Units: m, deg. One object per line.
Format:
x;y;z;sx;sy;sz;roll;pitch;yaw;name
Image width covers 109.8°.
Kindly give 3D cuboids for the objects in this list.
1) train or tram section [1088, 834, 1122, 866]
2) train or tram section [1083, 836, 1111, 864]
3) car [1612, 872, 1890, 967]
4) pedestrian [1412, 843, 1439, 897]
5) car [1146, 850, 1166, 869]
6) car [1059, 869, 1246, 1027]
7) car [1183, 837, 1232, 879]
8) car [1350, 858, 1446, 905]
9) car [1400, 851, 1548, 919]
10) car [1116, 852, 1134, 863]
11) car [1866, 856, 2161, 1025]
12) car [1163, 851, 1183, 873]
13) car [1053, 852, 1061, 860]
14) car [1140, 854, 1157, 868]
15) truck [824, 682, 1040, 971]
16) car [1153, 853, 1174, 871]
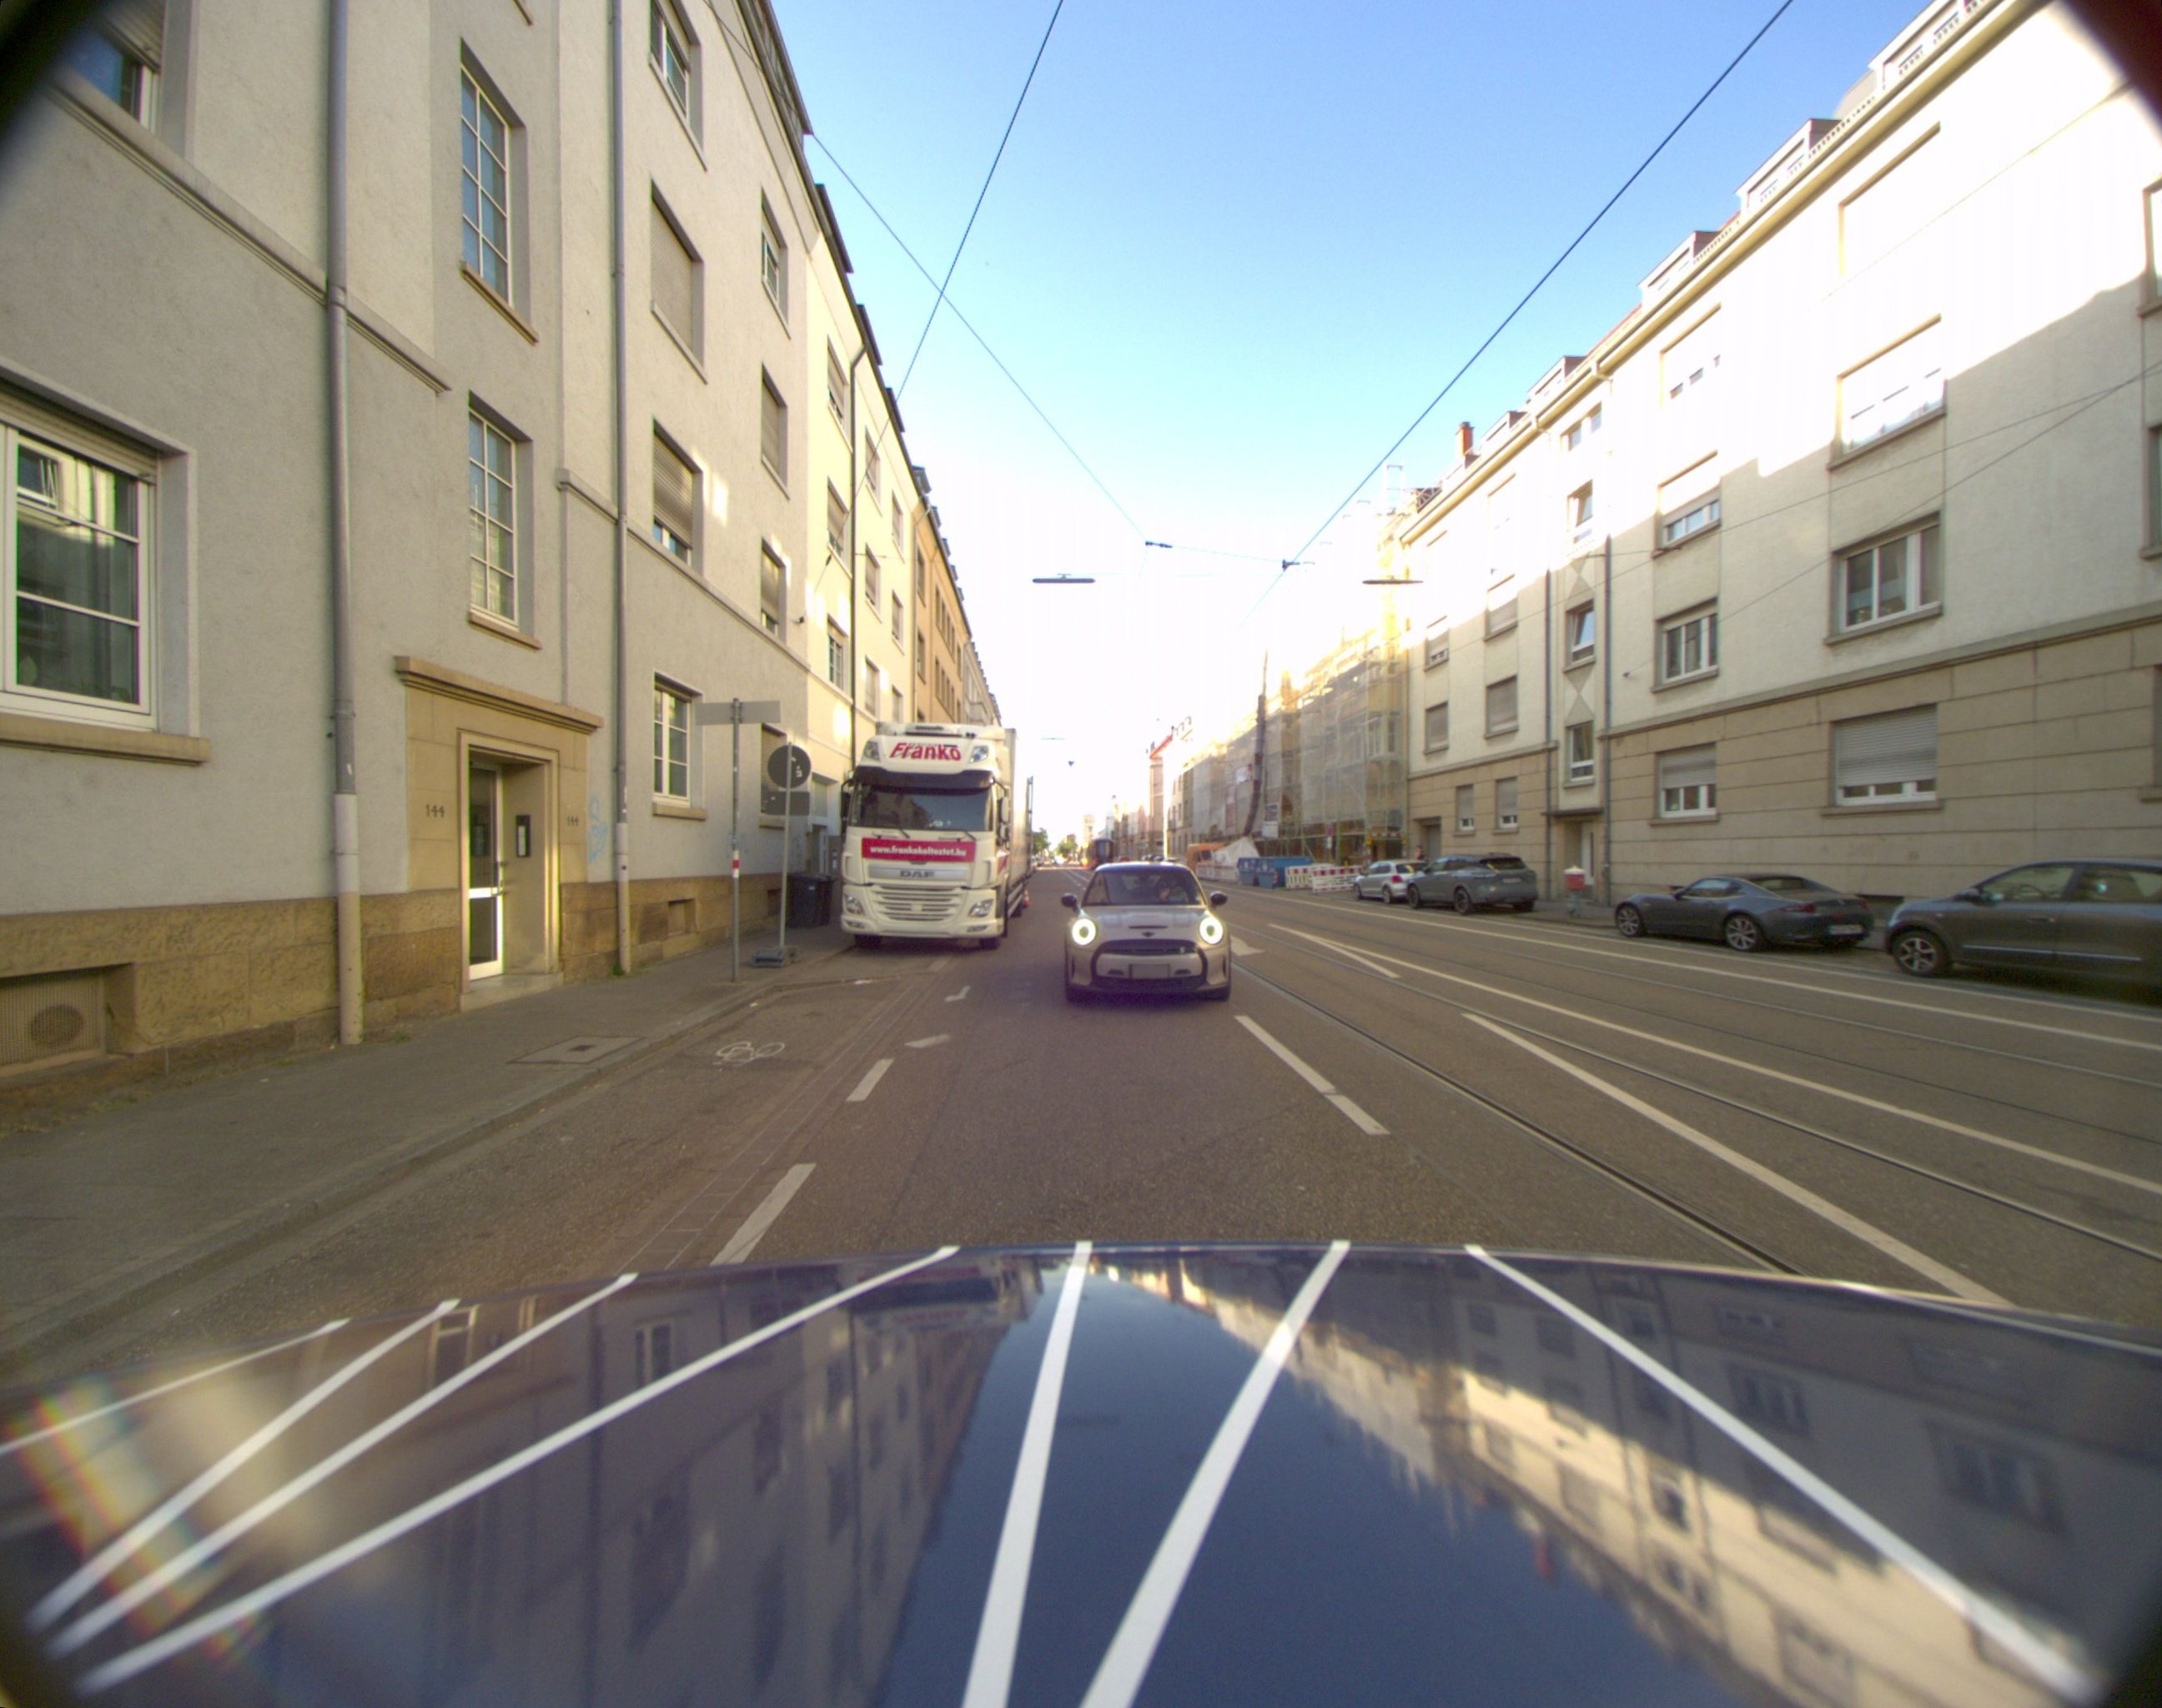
2.679;-0.484;89.255;2.867;3.542;13.038;0;1;-3;train or tram section
2.040;-0.608;102.433;2.867;3.542;13.330;0;1;-3;train or tram section
11.129;1.003;12.969;1.476;1.212;3.522;-3;1;-4;car
12.149;0.542;26.792;0.519;1.861;0.762;-2;1;-2;pedestrian
8.196;0.561;83.370;1.570;1.945;4.183;-2;1;-1;car
0.661;0.911;8.960;1.727;1.416;3.817;0;-1;0;car
8.813;0.249;53.363;2.215;2.681;5.871;-2;1;-2;car
10.612;0.869;25.673;1.565;1.372;3.506;-3;1;-4;car
10.812;0.770;21.286;1.752;1.600;4.157;-3;1;-4;car
6.899;0.510;119.482;2.231;1.518;4.959;-2;1;-1;car
11.365;0.858;8.354;1.644;1.549;3.594;-3;1;-2;car
8.609;0.682;71.062;1.658;1.911;3.766;-2;1;5;car
-6.182;0.539;197.111;1.999;1.871;4.269;-2;1;-4;car
7.842;0.820;88.322;1.532;1.518;3.599;-2;1;-1;car
-2.491;-0.501;17.034;2.700;4.214;11.773;0;1;-1;truck
8.331;0.764;76.953;1.570;1.674;3.935;-2;1;-1;car
